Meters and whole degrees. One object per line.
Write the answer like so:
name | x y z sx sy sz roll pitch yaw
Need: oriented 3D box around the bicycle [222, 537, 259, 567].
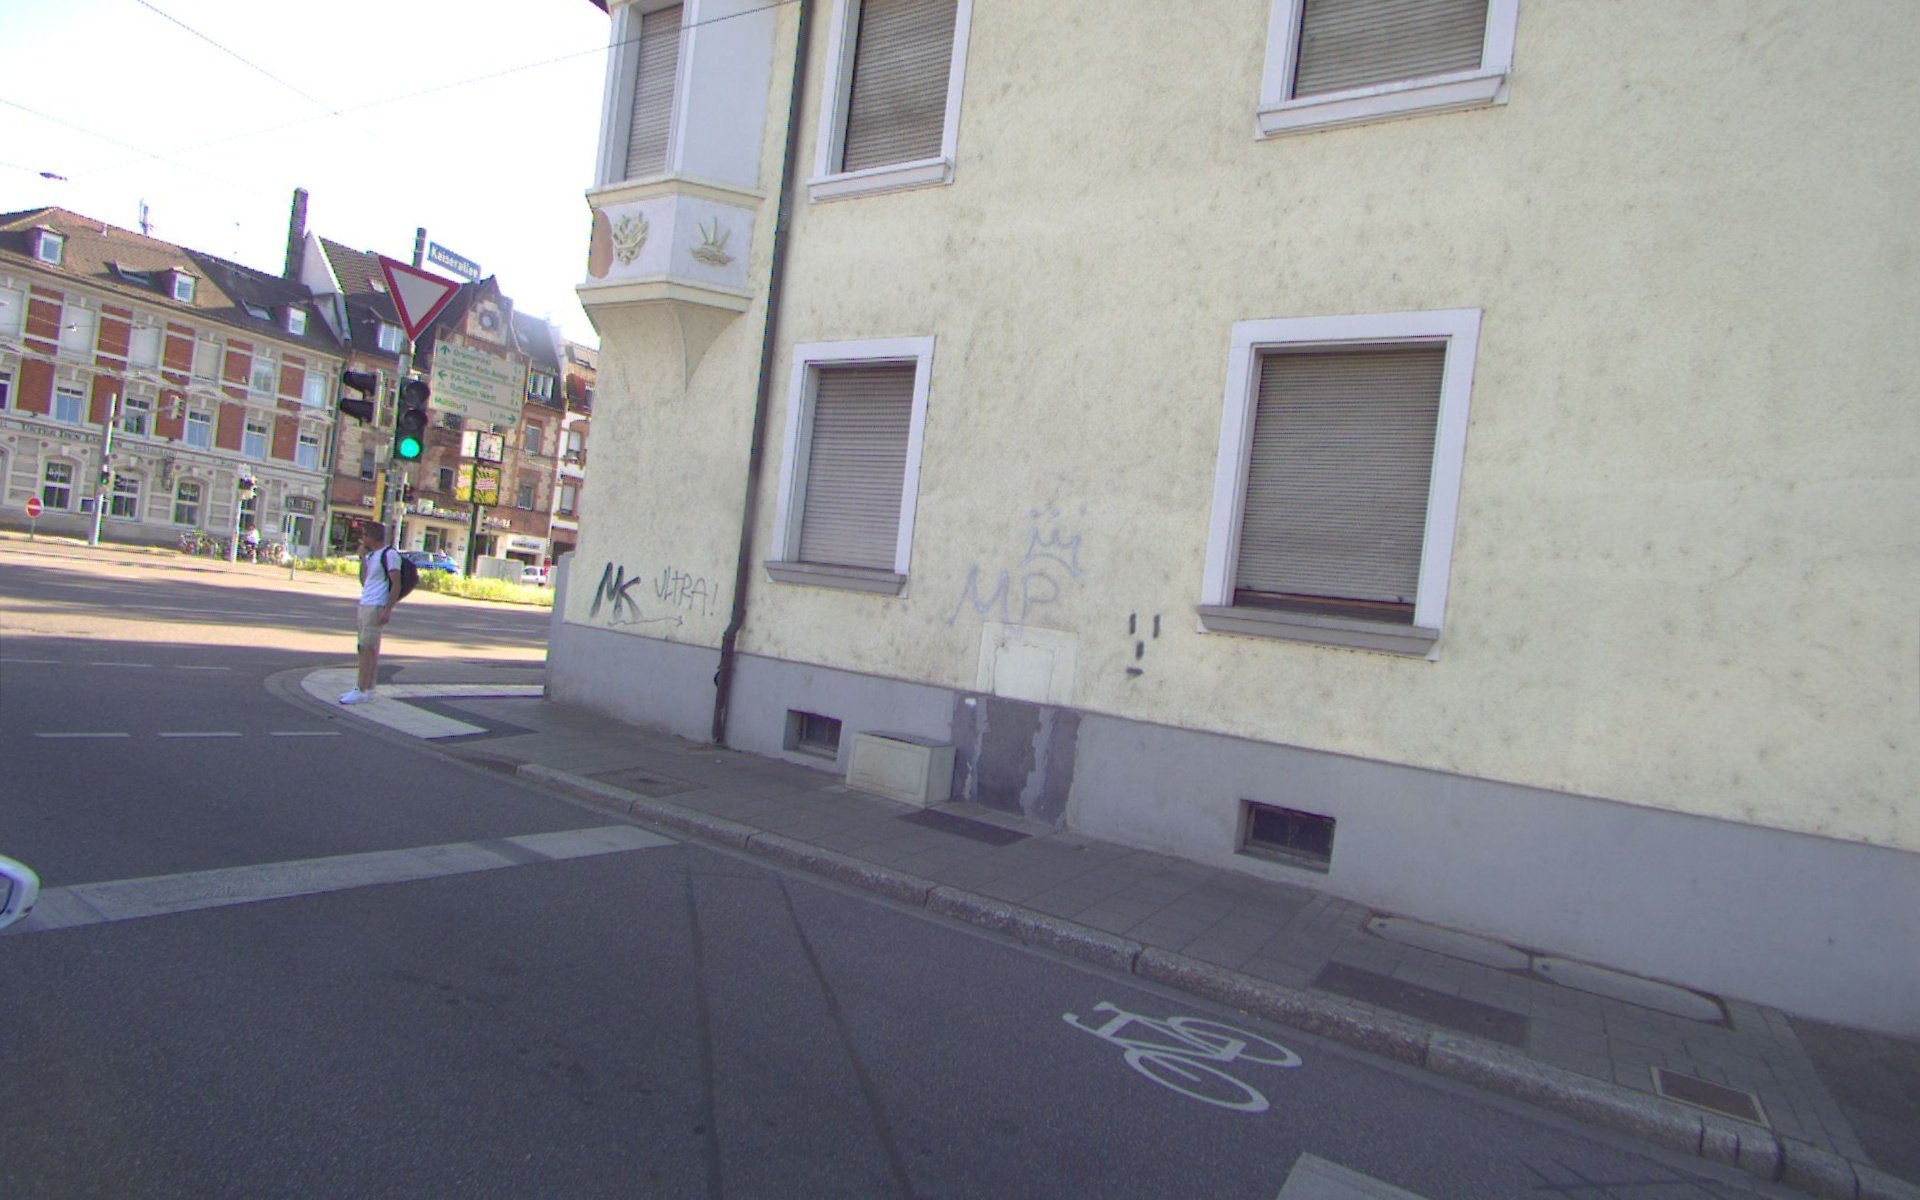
bicycle | -33.833 -2.280 47.316 1.935 1.205 0.678 7 0 33

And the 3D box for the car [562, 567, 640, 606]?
car | -23.221 -0.846 65.186 1.922 1.988 4.411 7 -1 31

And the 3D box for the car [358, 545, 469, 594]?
car | -25.386 -1.382 46.832 1.922 1.688 3.993 7 -1 31

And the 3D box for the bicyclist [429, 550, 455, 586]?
bicyclist | -27.738 -1.712 53.870 0.591 1.785 0.905 7 0 27

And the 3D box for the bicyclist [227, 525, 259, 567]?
bicyclist | -32.361 -2.439 45.436 0.592 1.785 0.873 7 0 34

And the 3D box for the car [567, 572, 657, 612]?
car | -19.459 -0.407 56.474 1.922 1.688 4.480 7 -1 31

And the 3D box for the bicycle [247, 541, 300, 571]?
bicycle | -32.864 -2.092 48.168 0.667 1.205 1.968 7 -1 20

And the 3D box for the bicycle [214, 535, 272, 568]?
bicycle | -32.378 -2.192 45.458 0.592 1.205 1.962 7 -1 34

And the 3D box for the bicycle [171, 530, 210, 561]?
bicycle | -34.867 -2.481 45.574 1.935 1.205 0.678 7 0 33

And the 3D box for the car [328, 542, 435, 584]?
car | -27.811 -1.742 48.469 1.815 1.429 3.993 7 -1 31

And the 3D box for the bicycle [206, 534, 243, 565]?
bicycle | -34.187 -2.358 46.743 1.935 1.205 0.678 7 0 33

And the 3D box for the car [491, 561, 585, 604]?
car | -21.903 -0.904 52.335 1.922 1.688 3.993 7 -1 31

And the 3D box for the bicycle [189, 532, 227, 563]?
bicycle | -34.527 -2.396 46.187 1.935 1.205 0.678 7 0 33

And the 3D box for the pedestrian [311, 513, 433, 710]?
pedestrian | -5.601 0.104 9.611 0.661 1.764 0.689 5 2 2
